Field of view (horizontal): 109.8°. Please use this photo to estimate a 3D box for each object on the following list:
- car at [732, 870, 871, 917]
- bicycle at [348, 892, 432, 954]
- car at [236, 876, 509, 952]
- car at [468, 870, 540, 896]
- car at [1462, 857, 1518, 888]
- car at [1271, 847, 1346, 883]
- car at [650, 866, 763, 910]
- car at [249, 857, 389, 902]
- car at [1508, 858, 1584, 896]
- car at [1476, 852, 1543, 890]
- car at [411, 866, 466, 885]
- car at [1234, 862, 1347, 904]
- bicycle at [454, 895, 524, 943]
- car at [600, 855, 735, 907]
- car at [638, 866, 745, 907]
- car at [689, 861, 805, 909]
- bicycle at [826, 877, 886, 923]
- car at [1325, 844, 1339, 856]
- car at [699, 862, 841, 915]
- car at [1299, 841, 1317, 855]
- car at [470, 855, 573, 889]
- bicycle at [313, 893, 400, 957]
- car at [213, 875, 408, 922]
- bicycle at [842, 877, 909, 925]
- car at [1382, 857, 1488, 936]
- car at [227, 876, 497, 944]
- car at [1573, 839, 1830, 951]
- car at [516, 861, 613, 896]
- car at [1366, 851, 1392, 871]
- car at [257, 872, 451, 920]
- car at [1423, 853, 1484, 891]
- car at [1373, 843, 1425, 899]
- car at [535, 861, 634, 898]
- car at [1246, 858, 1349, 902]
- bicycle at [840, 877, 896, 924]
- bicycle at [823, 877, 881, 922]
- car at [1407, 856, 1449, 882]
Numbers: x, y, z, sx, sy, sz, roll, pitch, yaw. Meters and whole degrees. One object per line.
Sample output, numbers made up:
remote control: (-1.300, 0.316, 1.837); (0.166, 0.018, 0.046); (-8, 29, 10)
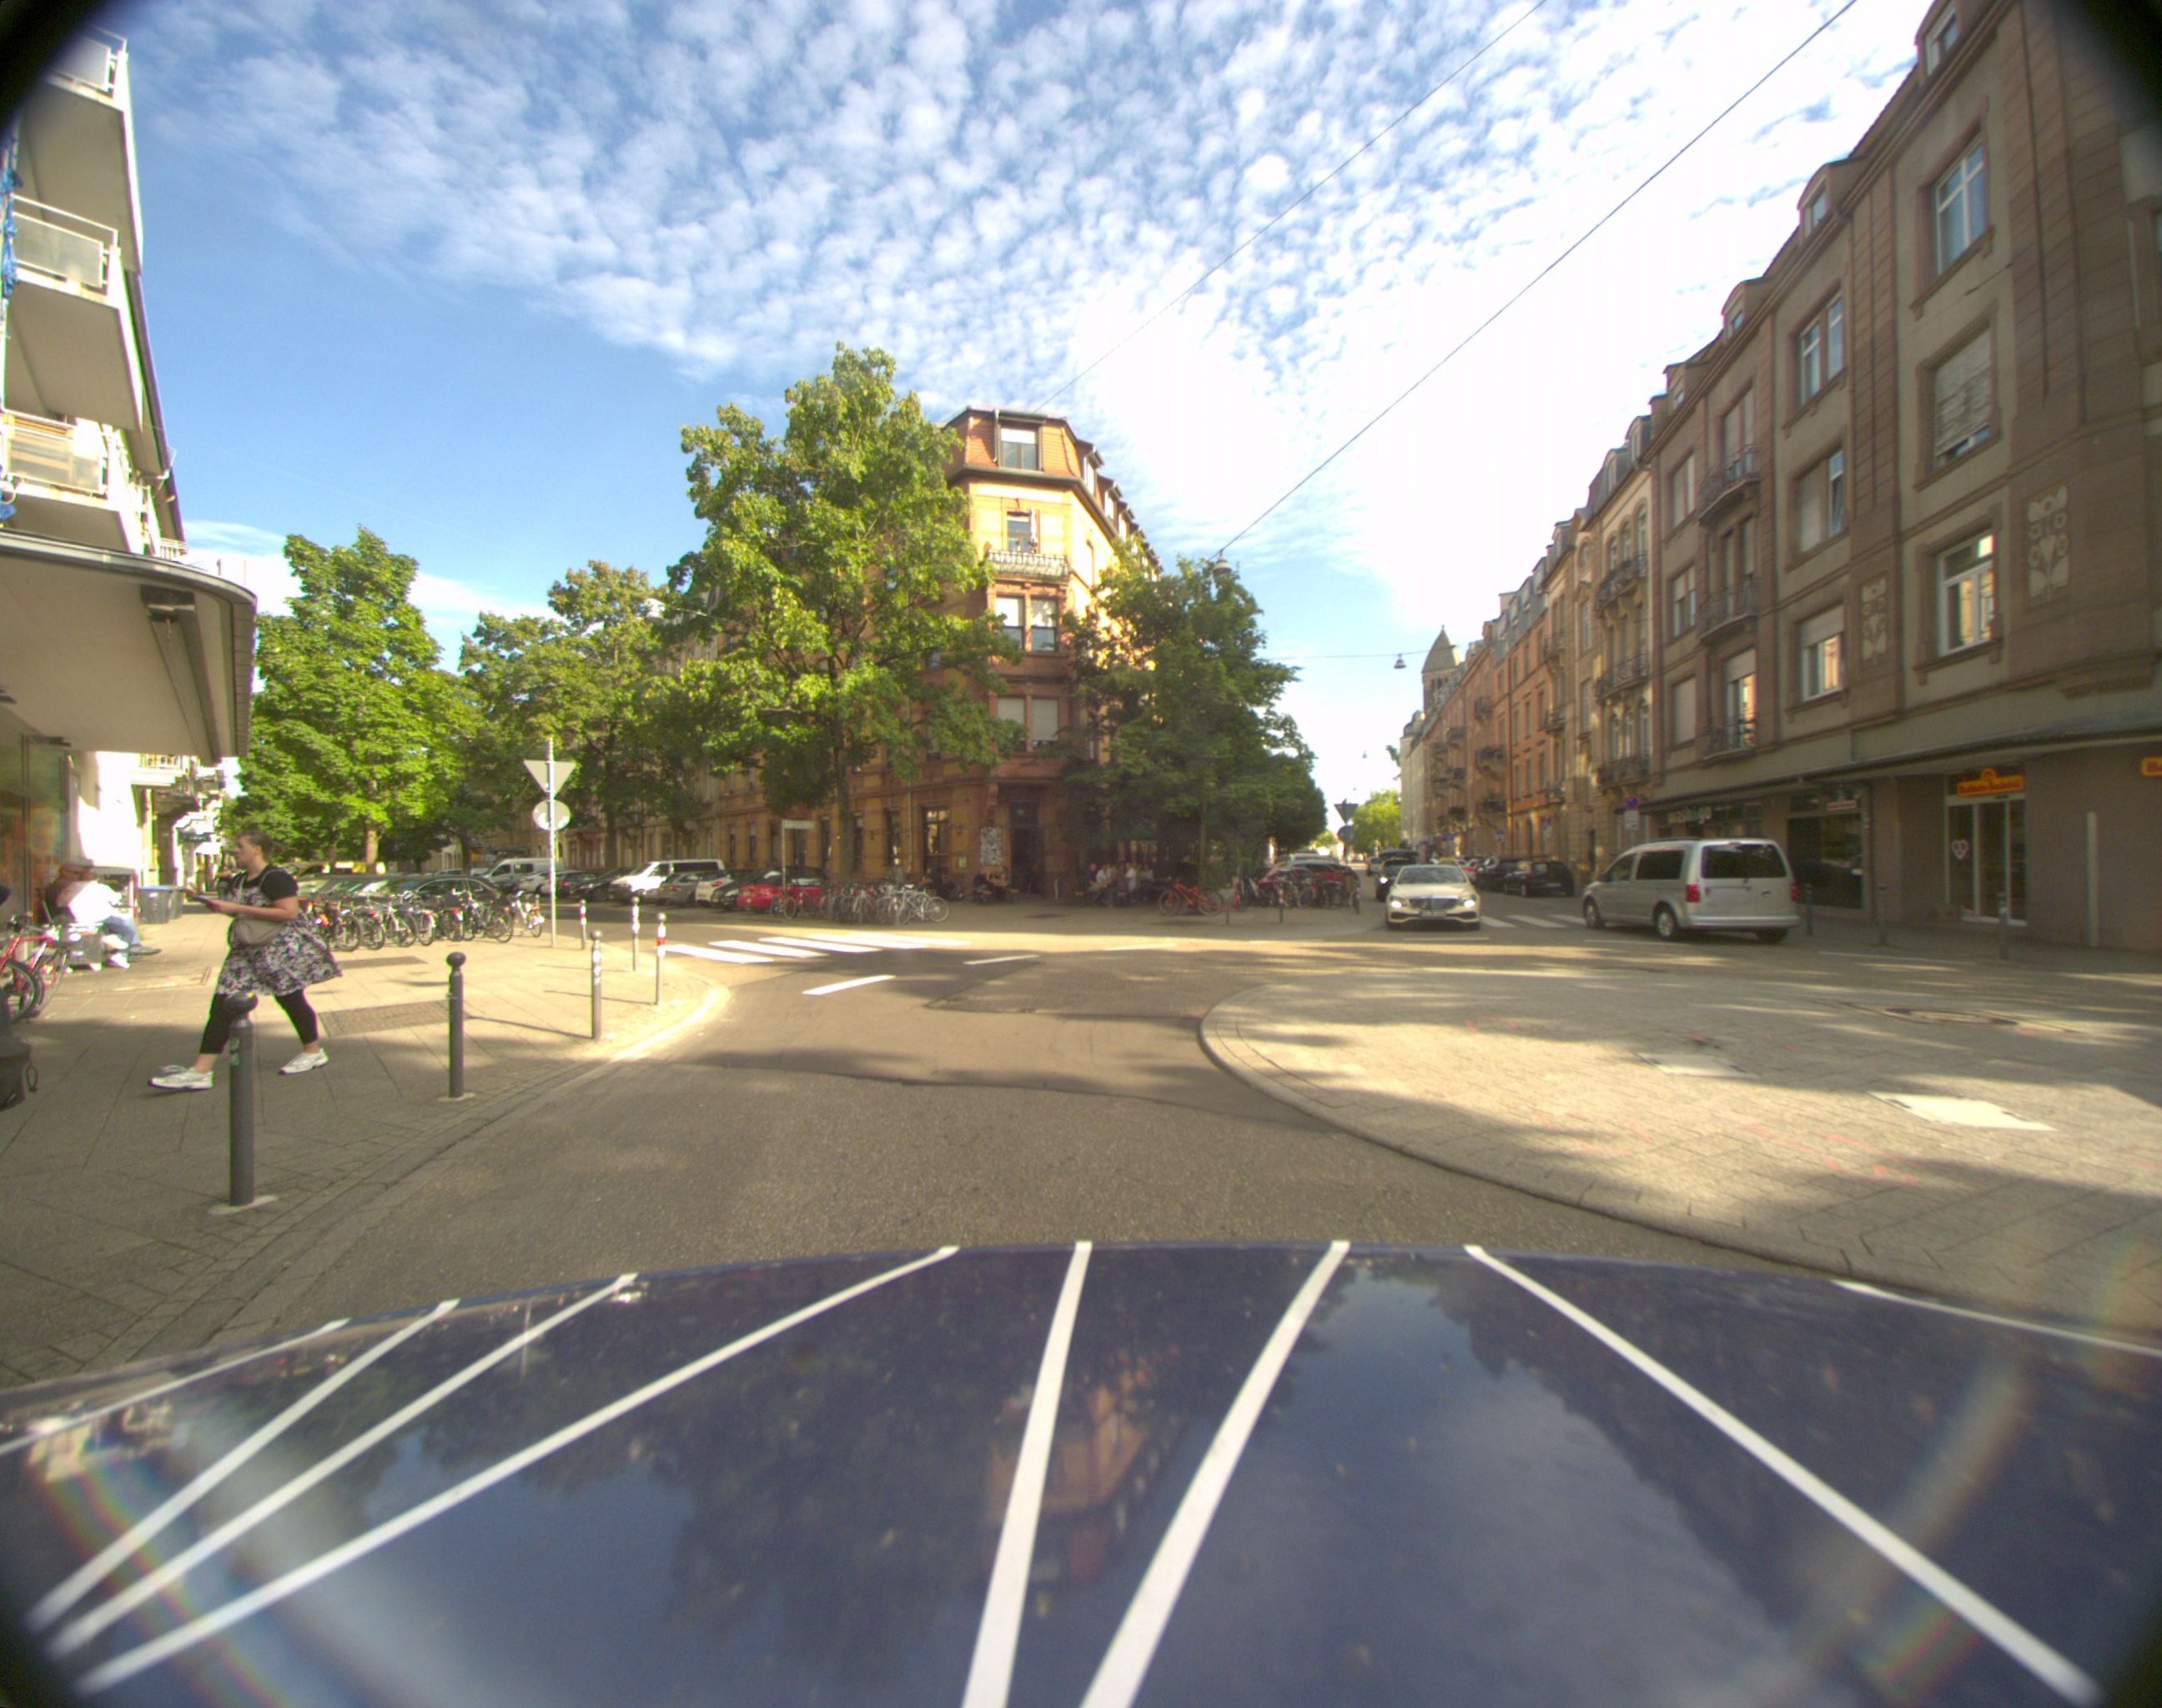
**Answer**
car: (-9.405, 1.298, 25.792); (1.563, 1.263, 4.120); (-3, 1, 41)
bicycle: (-13.096, 1.288, 14.397); (1.694, 1.079, 0.422); (1, 0, 19)
car: (-15.406, 1.227, 16.771); (1.805, 1.446, 4.009); (0, -2, 30)
car: (-44.916, 2.240, 59.214); (1.995, 1.862, 4.135); (-3, -1, 44)
car: (21.289, 0.922, 39.699); (1.759, 1.487, 4.139); (-2, -1, 17)
car: (16.341, 0.763, 54.545); (4.741, 2.408, 1.998); (-2, -1, -14)
car: (-15.200, 1.339, 30.949); (1.665, 1.449, 3.714); (-3, 1, 45)
car: (-39.863, 1.317, 39.950); (2.144, 2.207, 4.816); (-1, -1, 12)
car: (18.278, 0.862, 30.049); (1.721, 1.360, 3.835); (-2, -1, 19)
car: (19.560, 0.741, 34.890); (1.859, 1.575, 4.404); (-2, 0, 19)
car: (-64.567, 2.141, 76.368); (1.824, 1.721, 4.008); (-3, -1, 42)
car: (7.519, 1.041, 27.417); (3.587, 1.372, 1.512); (1, 0, -7)
bicycle: (-12.891, 1.404, 16.547); (1.420, 0.995, 0.493); (-1, -1, 18)
car: (-18.812, 1.151, 34.805); (2.041, 1.978, 4.920); (0, 3, 40)
car: (-16.937, 1.350, 33.137); (1.665, 1.449, 3.714); (0, 3, 45)
car: (-13.079, 1.177, 29.870); (1.856, 1.710, 3.716); (-3, -1, 45)
bicycle: (-6.548, 1.323, 22.195); (0.447, 1.195, 1.715); (0, 2, 35)
car: (43.086, -0.631, 130.463); (1.996, 1.877, 4.006); (-2, -1, 20)
car: (-11.309, 1.199, 27.818); (4.320, 1.560, 2.001); (-3, 1, -41)
car: (29.086, -0.721, 97.509); (1.848, 1.724, 4.004); (-2, -1, 13)
car: (-39.111, 1.207, 53.240); (1.995, 2.188, 5.493); (-3, -1, 44)
bicycle: (-13.362, 1.290, 14.004); (1.694, 1.079, 0.422); (1, 0, 19)
car: (-27.343, 1.539, 27.229); (1.747, 1.486, 4.636); (-1, -1, 15)
bicycle: (-5.730, 1.296, 21.243); (1.715, 1.195, 0.447); (-2, 2, -34)
car: (8.427, 0.895, 17.914); (1.940, 1.587, 4.845); (-2, -1, 27)
car: (-17.504, 1.292, 18.909); (1.954, 1.446, 4.670); (-1, -1, 8)
car: (11.348, 0.678, 14.366); (1.832, 1.780, 4.334); (0, 0, 9)
car: (-31.491, 1.444, 46.451); (1.931, 1.823, 4.467); (0, 3, 40)
car: (28.689, 0.659, 73.176); (1.941, 1.868, 4.843); (-2, -1, 17)
car: (-25.125, 1.401, 26.522); (1.747, 1.486, 4.636); (-1, -1, 15)
car: (17.443, 0.832, 35.822); (1.996, 1.624, 4.851); (-1, -1, 19)
car: (12.621, 0.647, 30.350); (1.790, 2.051, 4.006); (-1, 0, 21)
car: (-29.487, 1.449, 45.229); (1.931, 1.823, 4.467); (0, 3, 40)
car: (8.482, 1.003, 29.925); (3.586, 1.606, 1.513); (1, 0, -5)
bicycle: (-6.099, 1.322, 21.866); (0.447, 1.195, 1.715); (0, 2, 29)
bicycle: (-6.800, 1.319, 22.621); (0.447, 1.195, 1.715); (0, 2, 35)
car: (20.967, 0.873, 46.015); (1.767, 1.373, 4.457); (-3, -1, 18)
